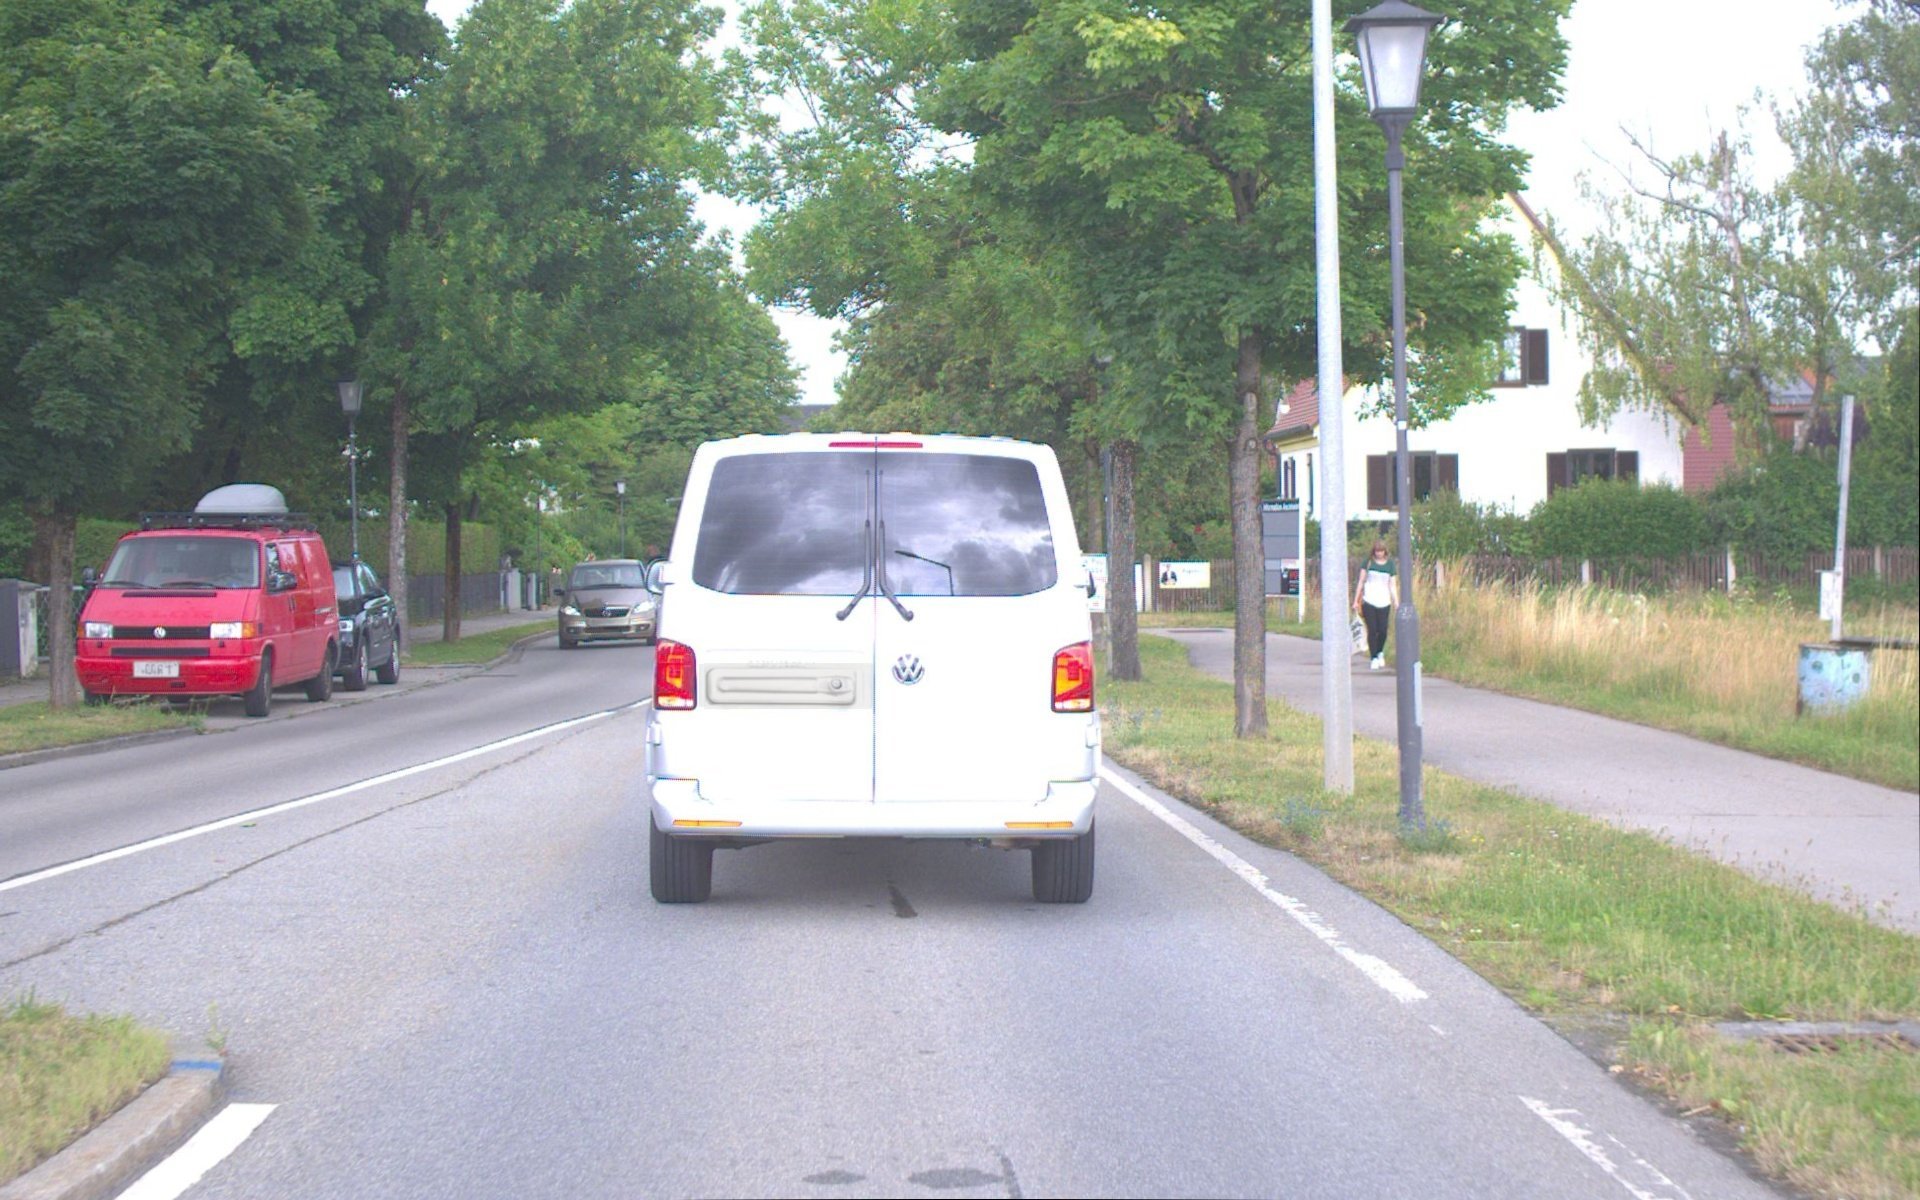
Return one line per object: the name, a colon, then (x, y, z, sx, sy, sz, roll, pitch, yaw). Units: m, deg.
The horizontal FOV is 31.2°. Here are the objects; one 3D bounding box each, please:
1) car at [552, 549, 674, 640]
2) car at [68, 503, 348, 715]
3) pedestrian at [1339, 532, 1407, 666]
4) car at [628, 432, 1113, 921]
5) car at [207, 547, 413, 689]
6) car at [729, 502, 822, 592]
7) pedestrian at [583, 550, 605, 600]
car: (-6.285, -0.127, 62.556, 1.707, 1.527, 3.507, -2, 1, 2)
car: (-7.750, 0.035, 35.905, 1.830, 2.023, 5.046, 1, 1, 0)
pedestrian: (5.467, -0.019, 45.521, 0.837, 1.749, 0.869, 0, 1, 4)
car: (-0.410, 0.282, 15.439, 1.887, 1.905, 4.000, 0, 1, -2)
car: (-7.850, 0.177, 41.836, 1.771, 1.592, 4.238, 0, 1, -1)
car: (-4.255, -1.219, 79.745, 1.993, 2.007, 4.000, 1, 0, -1)
pedestrian: (-11.474, -0.784, 107.785, 0.622, 1.544, 0.522, 1, 0, -5)
